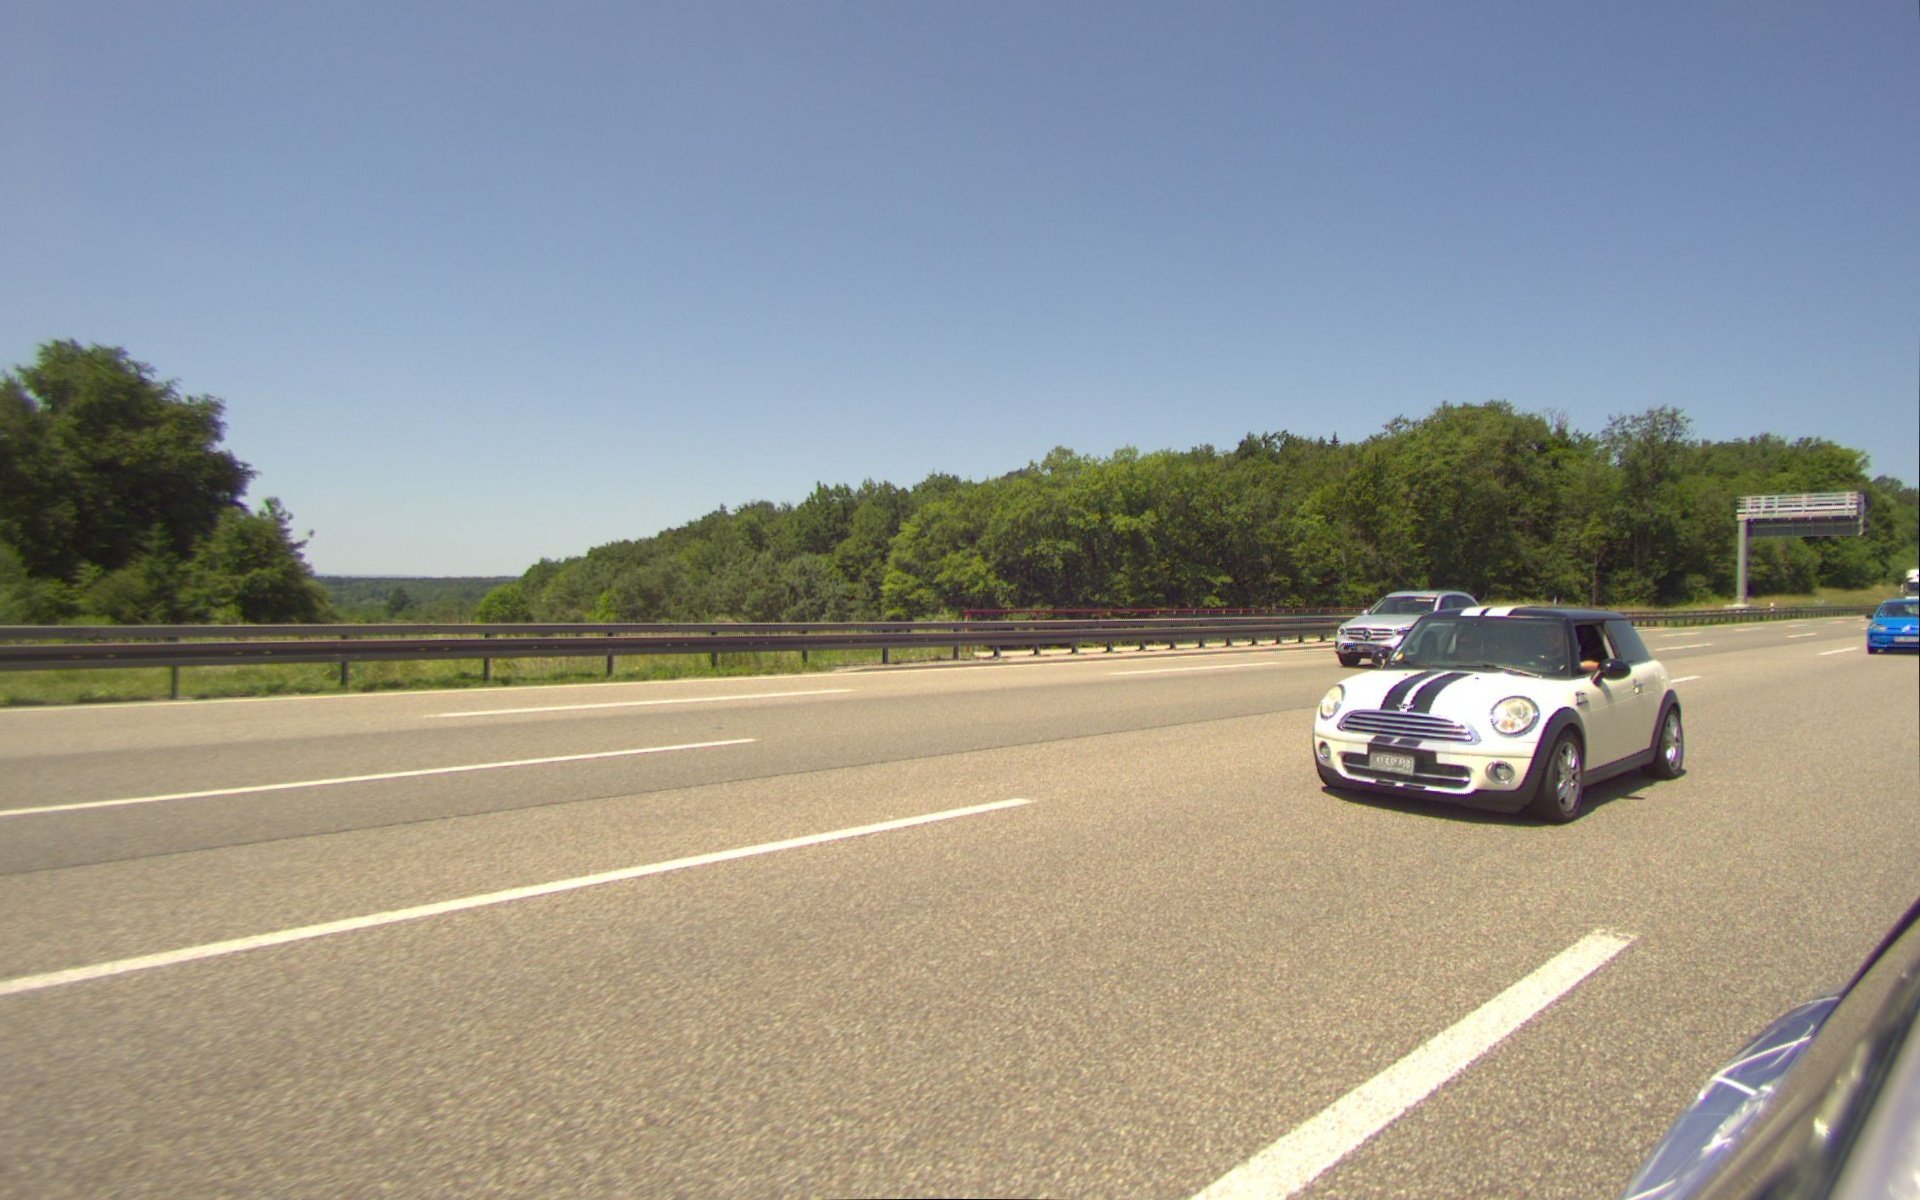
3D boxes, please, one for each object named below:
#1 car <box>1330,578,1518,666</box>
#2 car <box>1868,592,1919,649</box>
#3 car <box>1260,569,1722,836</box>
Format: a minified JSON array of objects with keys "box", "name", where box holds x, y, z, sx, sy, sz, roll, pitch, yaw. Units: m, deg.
[{"box":[10.377,0.479,22.452,5.146,1.753,1.804,1,-2,-41],"name":"car"},{"box":[25.693,0.523,26.947,3.929,1.429,1.741,0,0,-40],"name":"car"},{"box":[4.286,0.595,7.937,3.928,1.571,1.845,0,0,-40],"name":"car"}]
